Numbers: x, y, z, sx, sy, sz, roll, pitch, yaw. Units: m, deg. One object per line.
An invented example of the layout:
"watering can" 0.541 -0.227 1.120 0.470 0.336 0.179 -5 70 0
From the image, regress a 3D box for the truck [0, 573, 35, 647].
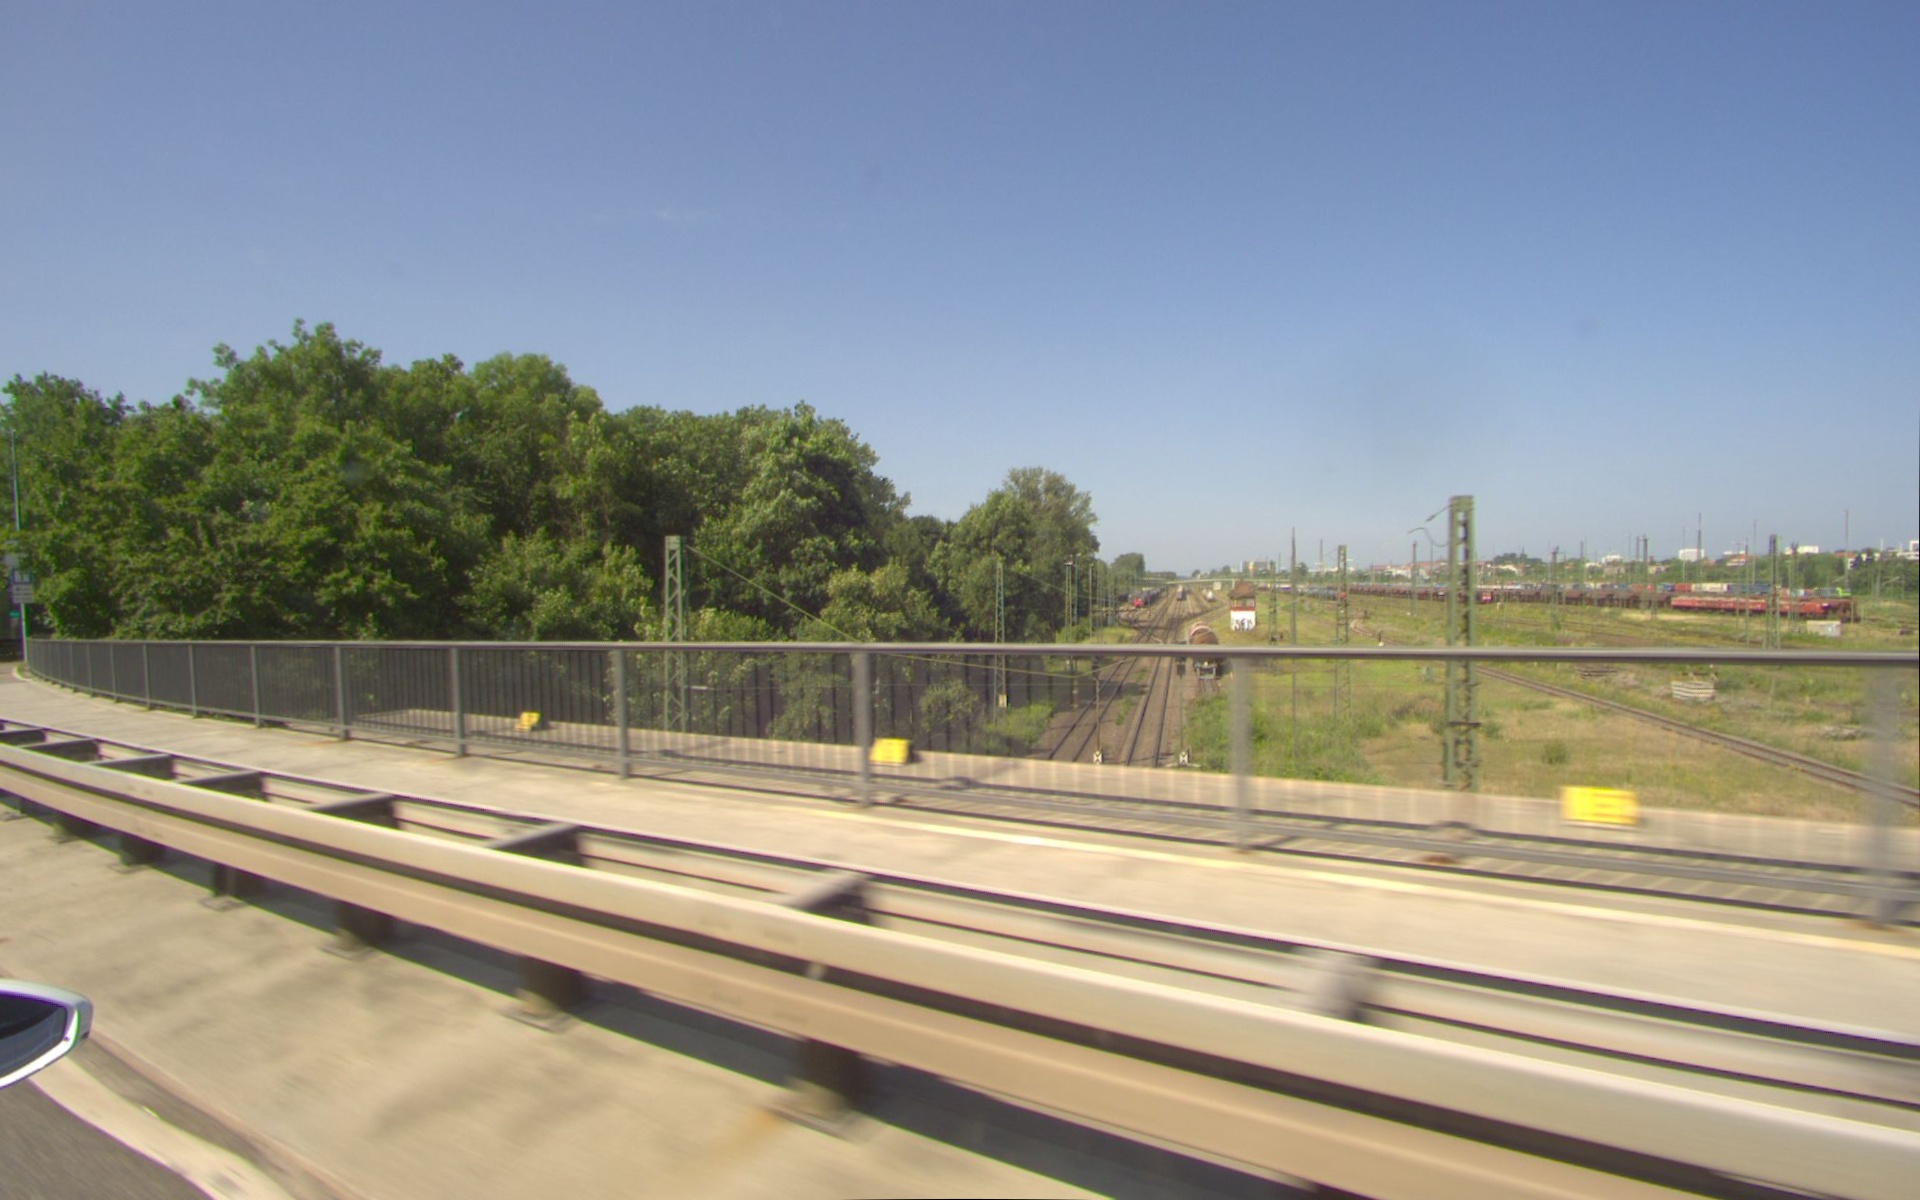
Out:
"truck" -53.047 0.540 54.044 3.229 3.805 8.318 2 -3 -34
